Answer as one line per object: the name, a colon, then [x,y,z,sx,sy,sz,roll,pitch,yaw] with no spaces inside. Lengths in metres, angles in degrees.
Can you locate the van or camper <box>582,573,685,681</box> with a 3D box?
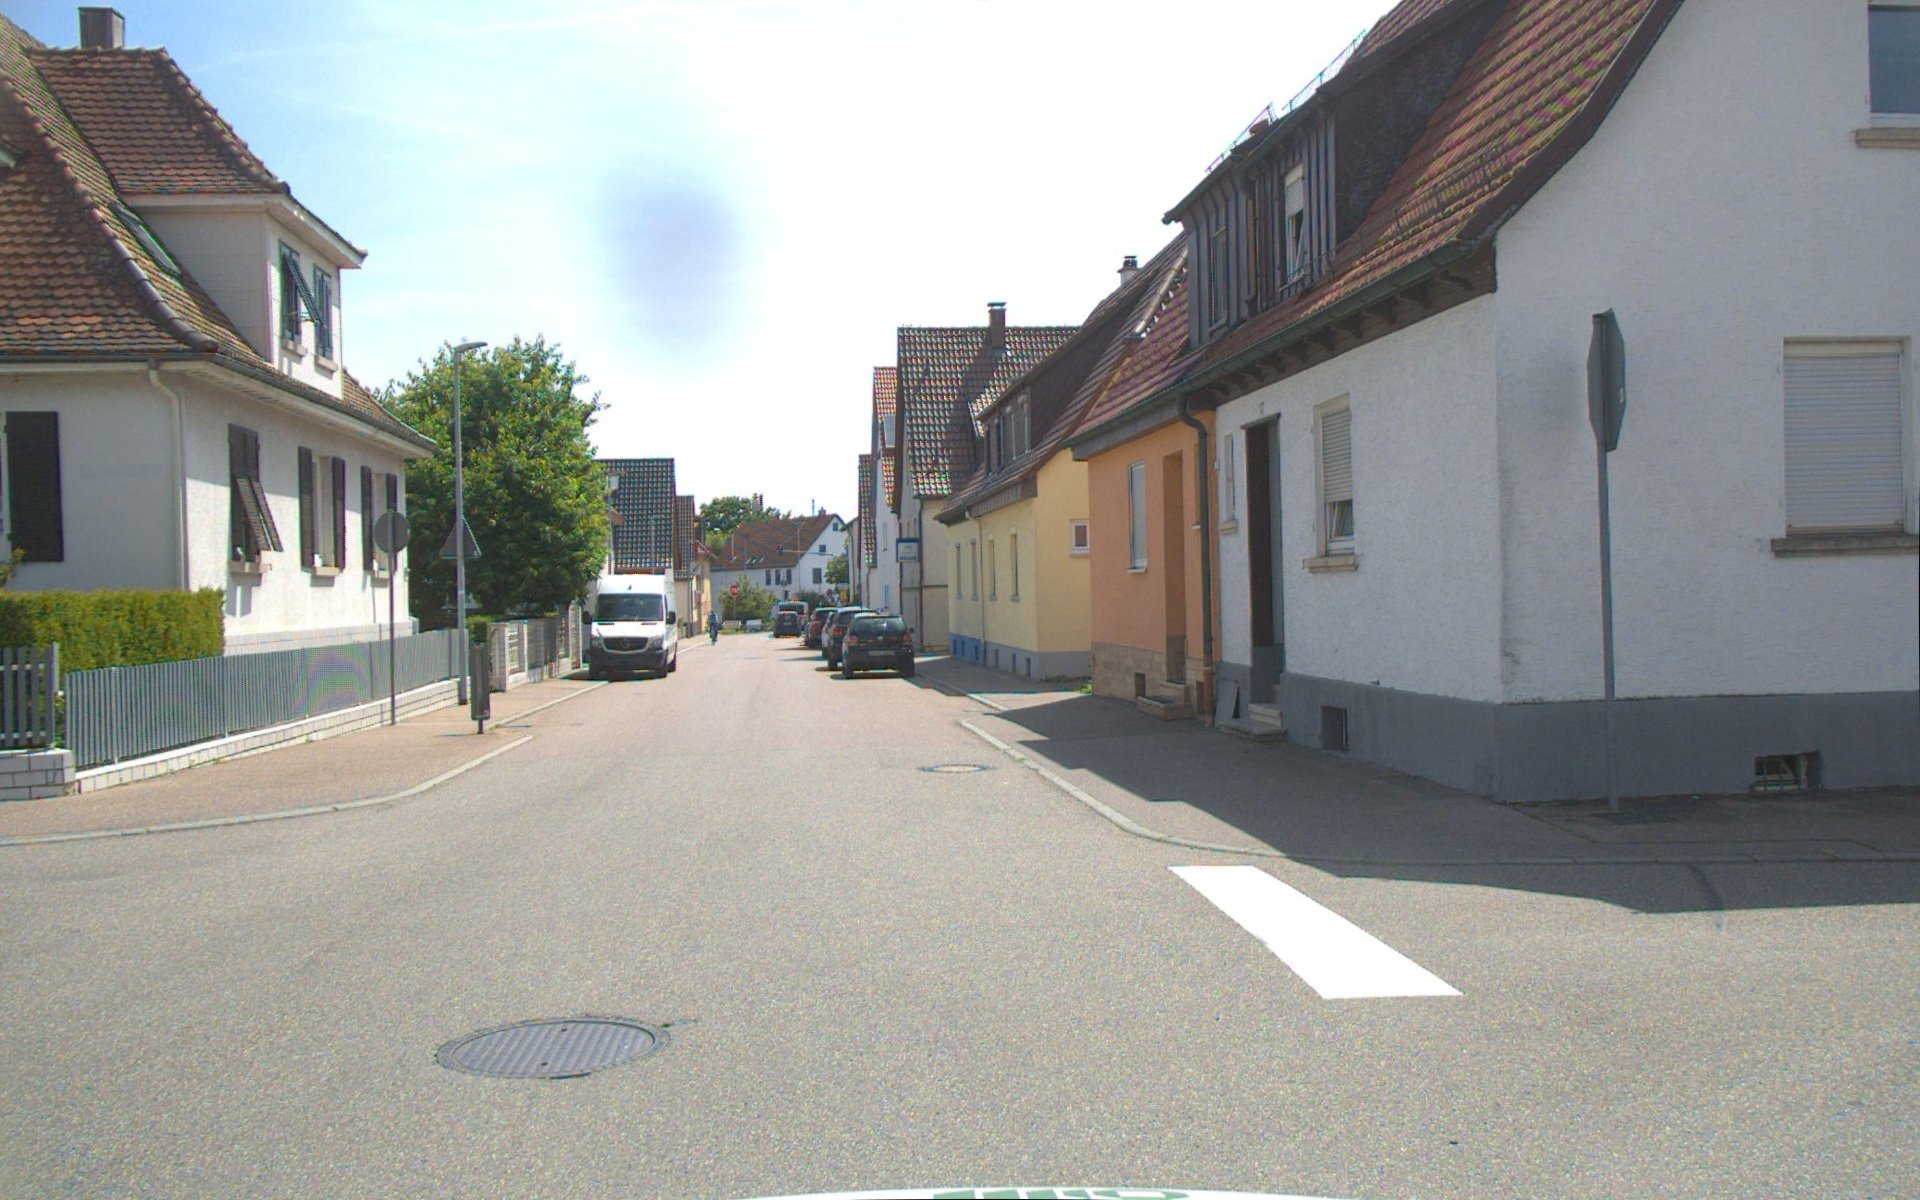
van or camper: [-8.527,0.688,43.746,2.143,2.617,6.796,-1,0,-7]

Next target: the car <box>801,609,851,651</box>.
car: [-5.815,1.263,71.223,1.841,1.730,4.175,-1,0,-9]

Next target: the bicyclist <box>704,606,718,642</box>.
bicyclist: [-13.053,1.265,86.605,0.700,1.830,0.940,-1,-1,-8]

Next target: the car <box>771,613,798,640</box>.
car: [-11.306,1.688,106.850,1.486,1.653,3.182,-2,0,-3]

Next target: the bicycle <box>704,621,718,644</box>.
bicycle: [-13.038,1.677,86.647,0.657,1.152,2.185,-1,0,-8]

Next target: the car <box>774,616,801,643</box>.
car: [-10.643,1.786,102.069,1.485,1.594,3.182,-1,0,-3]

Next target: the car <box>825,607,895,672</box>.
car: [-2.732,1.028,44.485,1.695,1.628,4.247,-1,0,-6]

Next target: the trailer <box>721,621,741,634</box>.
trailer: [-18.139,2.179,131.038,1.472,0.944,1.011,0,-1,-5]

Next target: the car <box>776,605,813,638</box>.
car: [-11.602,1.466,116.097,2.085,2.196,4.735,-2,0,-1]

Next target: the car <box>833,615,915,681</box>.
car: [-2.066,1.086,38.974,1.581,1.456,3.746,-1,0,-8]

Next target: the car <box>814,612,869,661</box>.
car: [-4.069,1.228,56.331,1.642,1.586,3.034,-1,0,-9]
